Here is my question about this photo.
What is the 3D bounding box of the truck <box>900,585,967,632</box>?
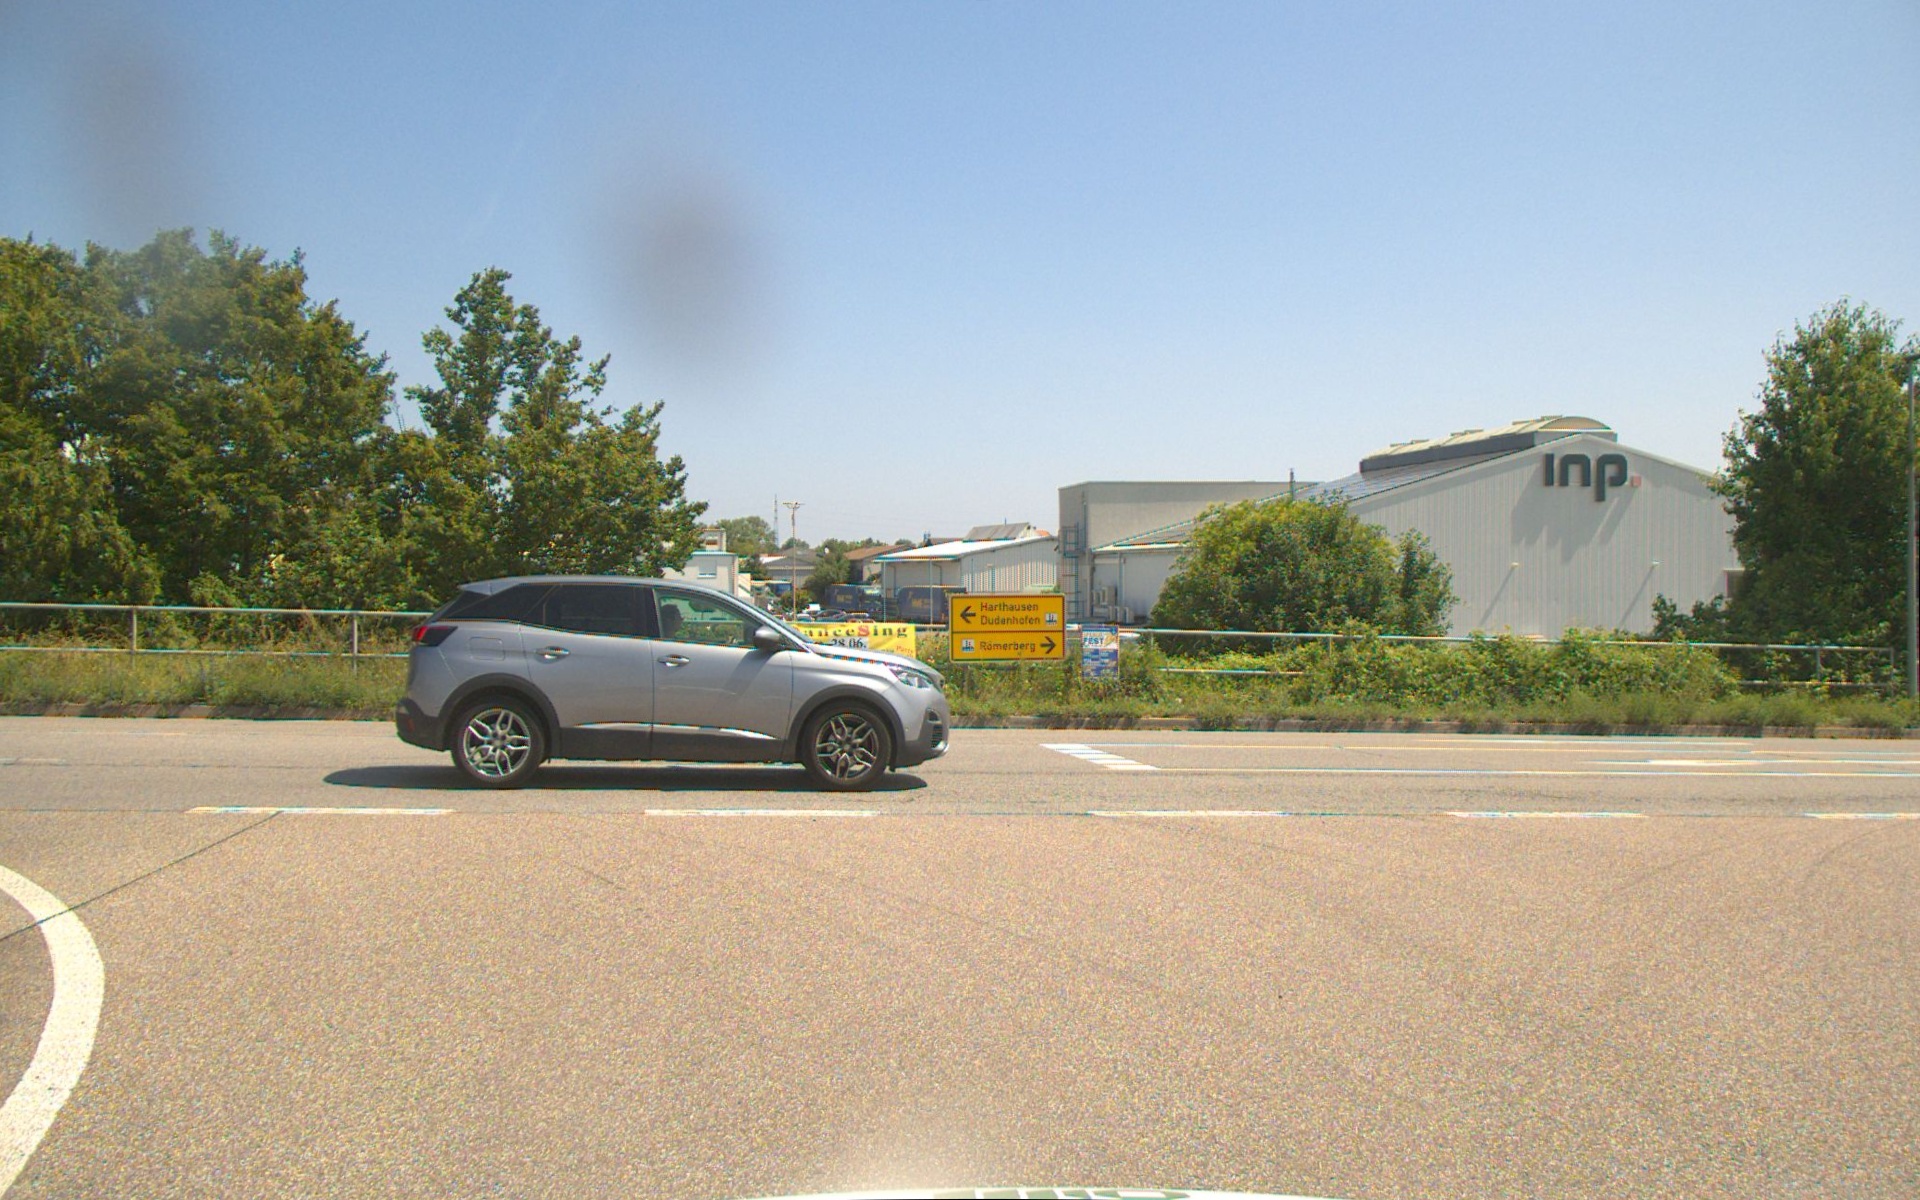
[{"bbox_3d":[-2.719,0.773,161.974,3.645,4.386,13.294,1,0,-14],"label":"truck"}]

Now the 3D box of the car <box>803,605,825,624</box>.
[{"bbox_3d":[-16.201,1.633,183.477,1.689,2.049,3.983,1,0,-16],"label":"car"}]

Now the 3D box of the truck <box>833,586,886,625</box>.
[{"bbox_3d":[-11.938,0.610,195.057,3.355,4.386,14.535,1,0,-15],"label":"truck"}]

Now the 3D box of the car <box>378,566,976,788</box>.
[{"bbox_3d":[-2.203,0.610,13.322,4.395,1.611,1.794,1,0,-10],"label":"car"}]

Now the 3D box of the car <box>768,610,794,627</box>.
[{"bbox_3d":[-19.134,1.983,176.792,1.961,1.761,4.842,1,0,-16],"label":"car"}]

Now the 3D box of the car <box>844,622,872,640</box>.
[{"bbox_3d":[-8.846,2.659,143.900,1.656,1.387,3.820,-2,1,-15],"label":"car"}]
